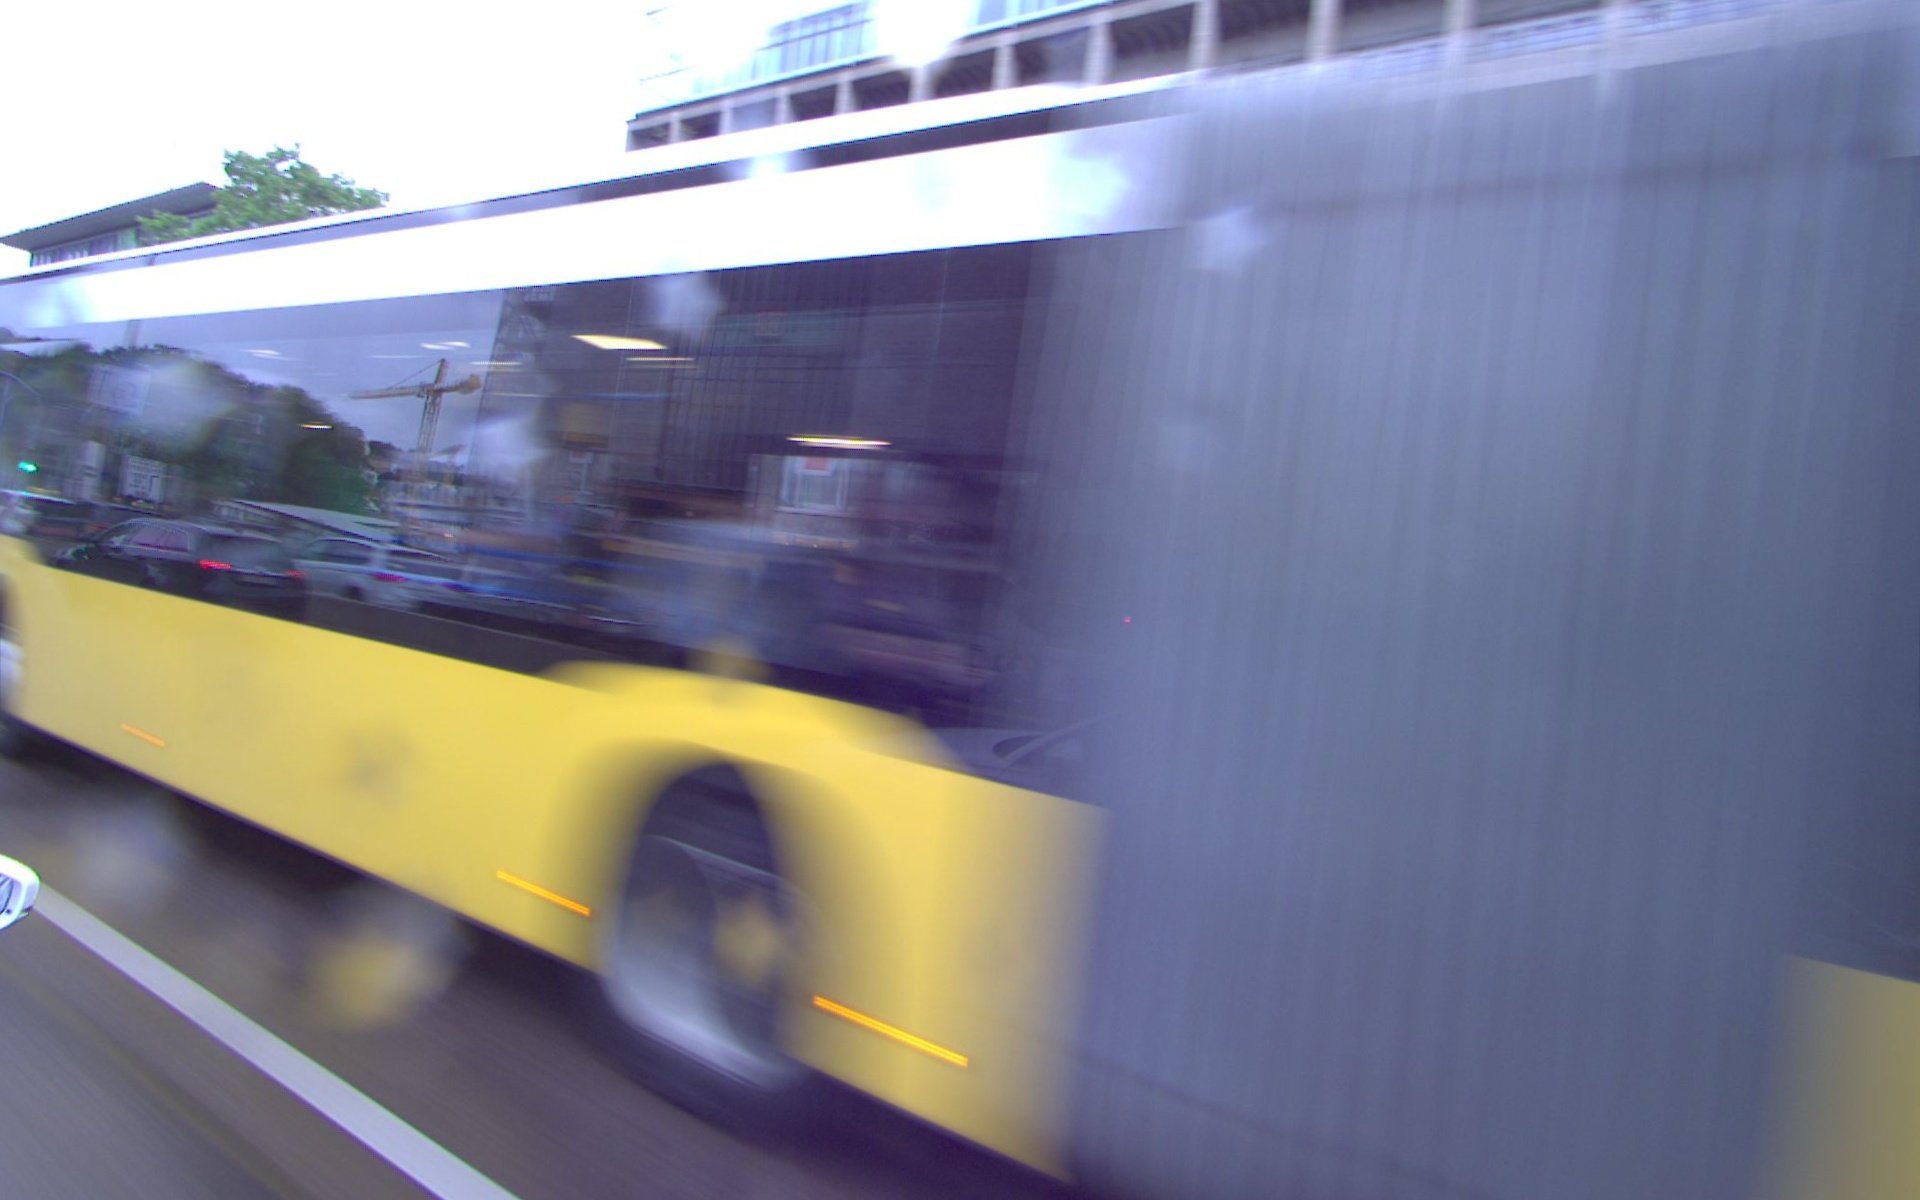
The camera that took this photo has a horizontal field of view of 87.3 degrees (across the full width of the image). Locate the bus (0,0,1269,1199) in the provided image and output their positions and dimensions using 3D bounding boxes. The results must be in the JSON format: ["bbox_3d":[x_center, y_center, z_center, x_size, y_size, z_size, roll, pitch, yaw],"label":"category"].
[{"bbox_3d":[-3.294,-0.312,6.022,9.088,3.243,3.119,6,-1,31],"label":"bus"}]

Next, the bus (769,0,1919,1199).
[{"bbox_3d":[4.317,0.508,1.255,8.985,3.286,3.146,6,-1,32],"label":"bus"}]

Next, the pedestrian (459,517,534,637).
[{"bbox_3d":[-7.416,-0.365,16.105,0.730,1.815,0.747,6,1,-44],"label":"pedestrian"}]

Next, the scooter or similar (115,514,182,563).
[{"bbox_3d":[-24.603,-1.854,30.520,1.348,1.245,0.568,7,0,-15],"label":"scooter or similar"}]

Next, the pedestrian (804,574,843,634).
[{"bbox_3d":[-4.383,0.142,32.219,0.776,1.815,0.732,7,1,31],"label":"pedestrian"}]

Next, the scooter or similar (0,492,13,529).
[{"bbox_3d":[-34.939,-3.277,36.364,1.291,1.274,0.374,7,-1,19],"label":"scooter or similar"}]
